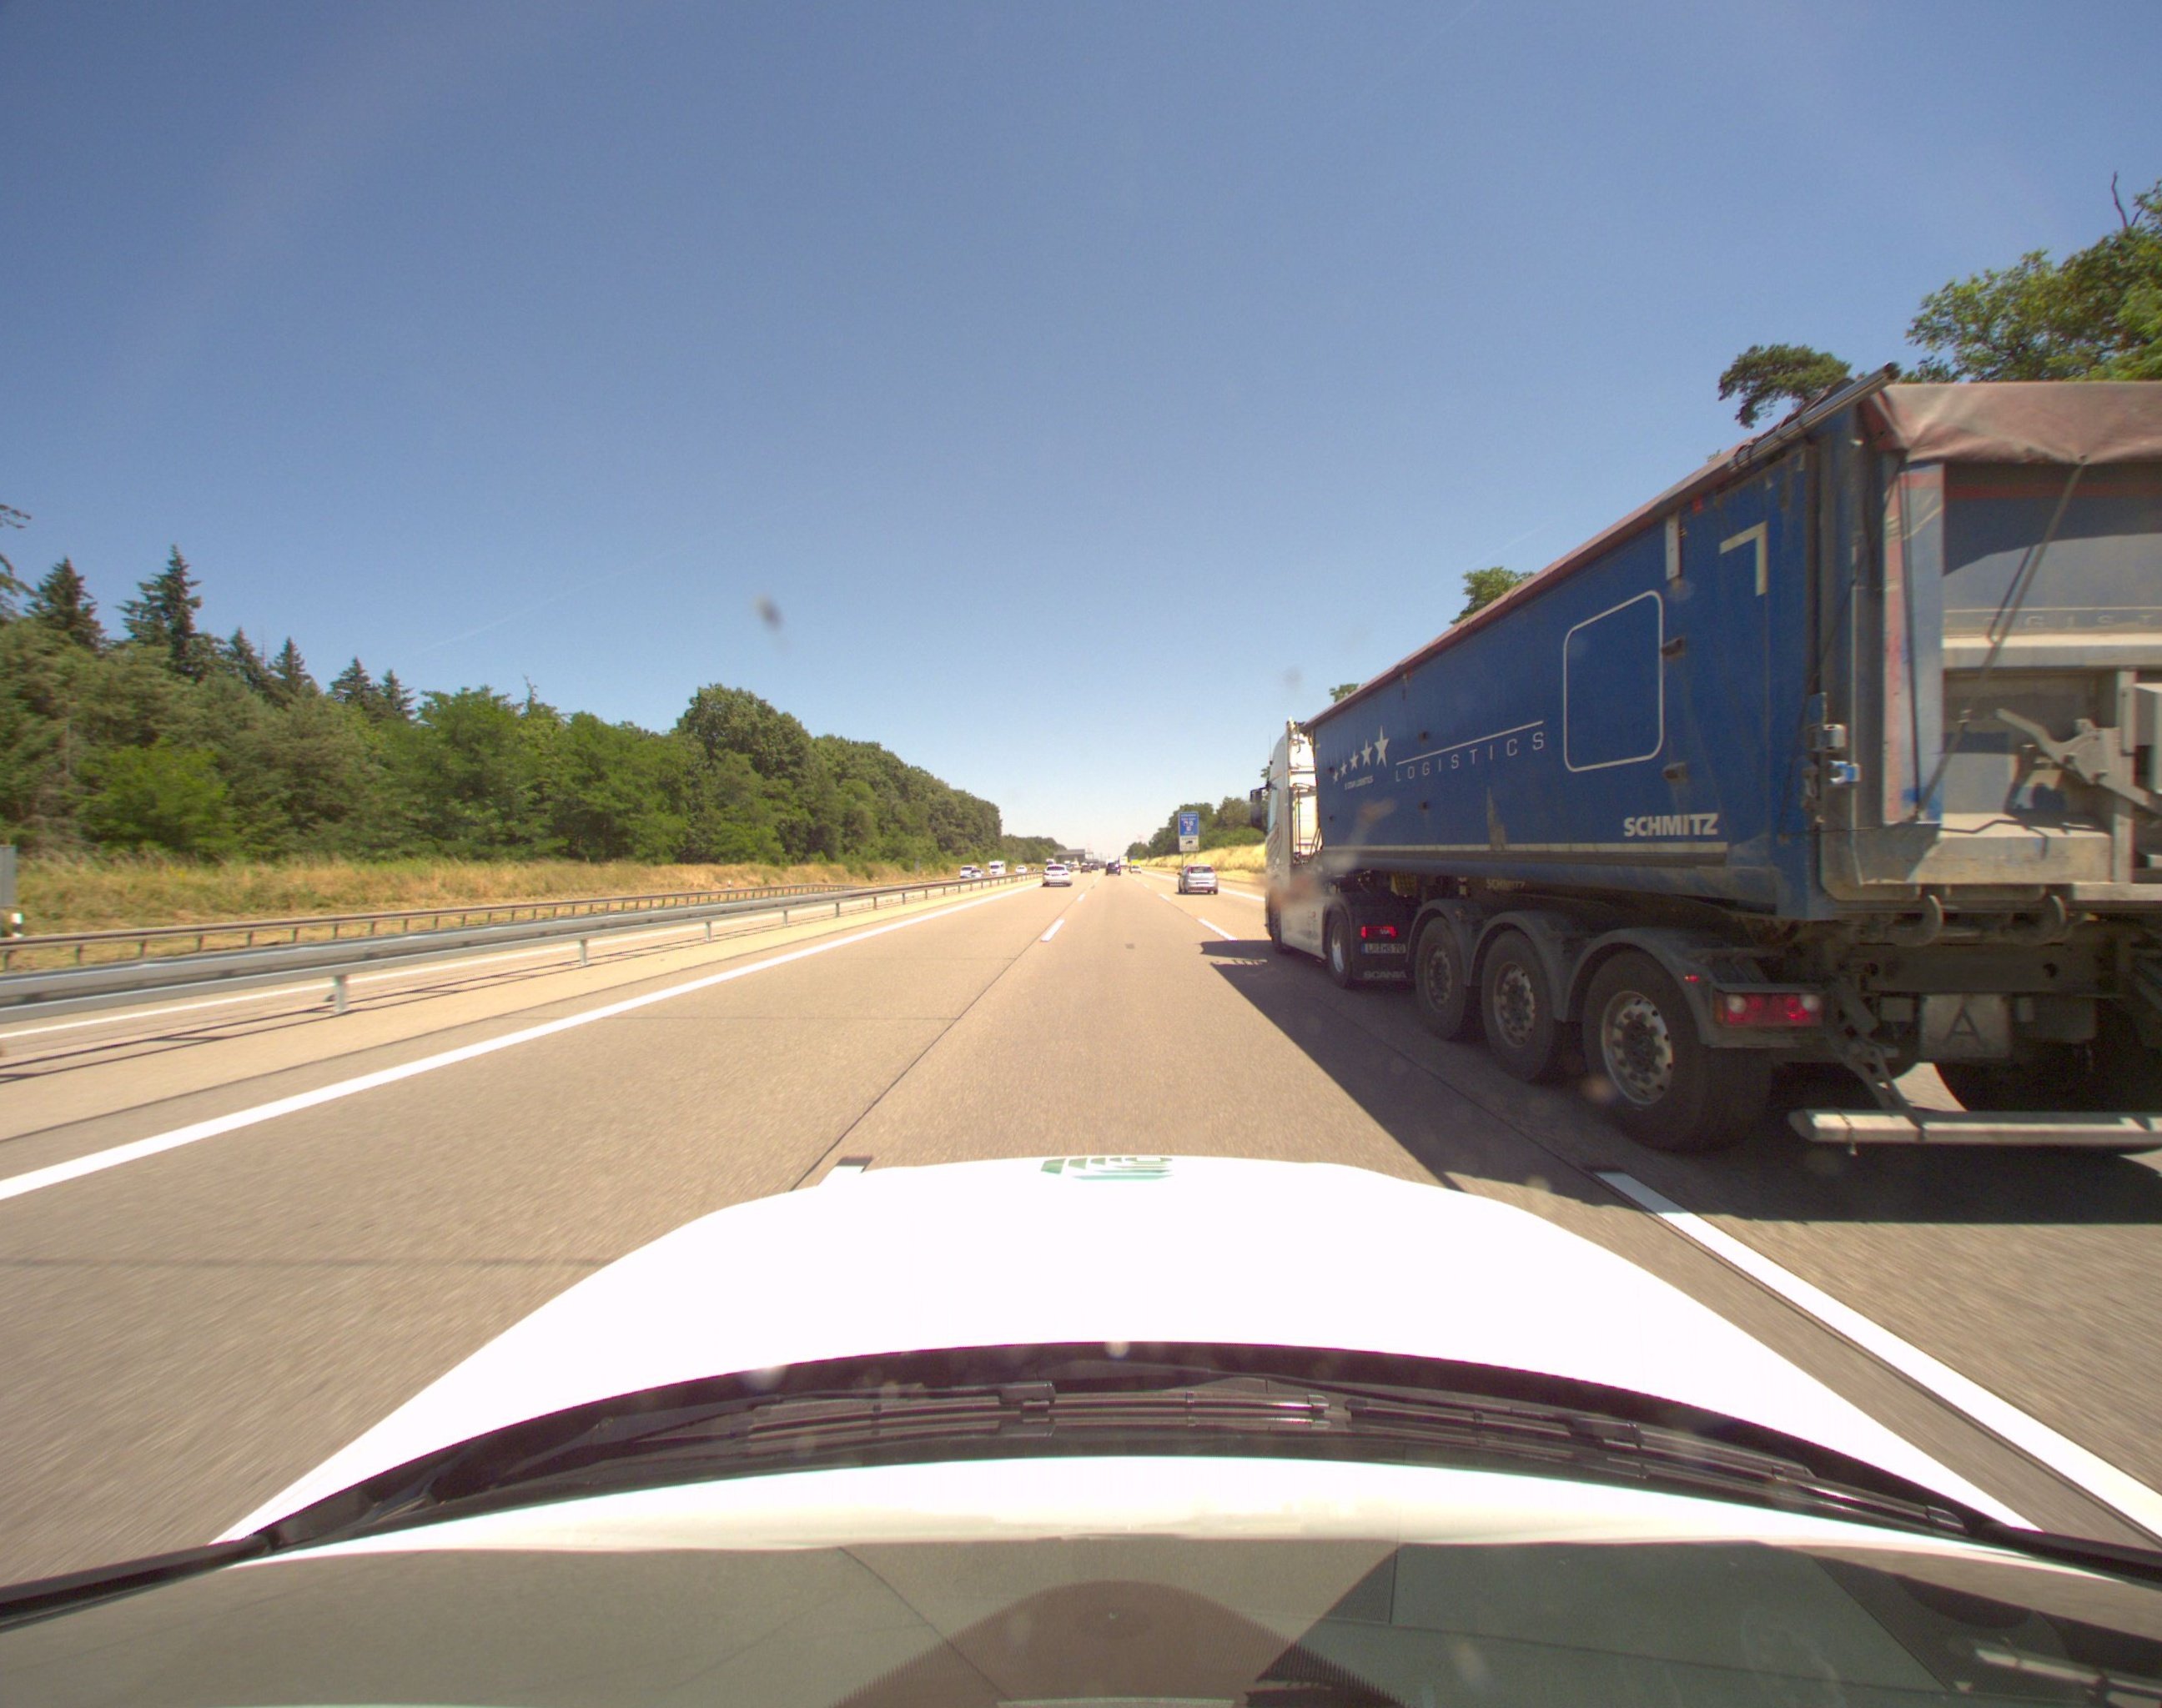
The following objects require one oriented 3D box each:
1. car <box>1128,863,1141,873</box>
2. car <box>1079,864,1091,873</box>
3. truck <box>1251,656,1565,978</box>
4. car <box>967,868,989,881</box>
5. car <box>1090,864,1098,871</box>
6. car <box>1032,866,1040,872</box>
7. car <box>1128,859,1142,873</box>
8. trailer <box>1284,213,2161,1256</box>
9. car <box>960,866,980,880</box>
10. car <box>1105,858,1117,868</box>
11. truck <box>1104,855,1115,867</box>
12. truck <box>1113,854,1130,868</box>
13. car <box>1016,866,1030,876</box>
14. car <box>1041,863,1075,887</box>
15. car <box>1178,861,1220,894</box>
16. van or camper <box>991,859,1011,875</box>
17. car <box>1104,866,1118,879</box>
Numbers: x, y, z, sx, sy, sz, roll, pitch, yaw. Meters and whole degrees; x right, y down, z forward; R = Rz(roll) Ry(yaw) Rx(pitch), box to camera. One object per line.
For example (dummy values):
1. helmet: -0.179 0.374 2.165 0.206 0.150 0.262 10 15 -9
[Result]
1. car: 8.471 2.230 128.957 1.816 1.492 3.735 0 -1 -1
2. car: 0.742 2.394 136.991 1.825 1.431 5.001 -1 0 2
3. truck: 4.474 -0.431 12.602 2.673 3.758 5.948 -1 0 3
4. car: -13.123 2.584 103.791 1.844 1.527 5.207 -2 -1 2
5. car: 3.022 3.063 189.575 1.868 1.580 3.930 -1 0 2
6. car: -12.392 4.113 222.892 1.807 1.395 4.113 -4 -1 2
7. car: 10.421 2.293 157.357 2.656 2.634 6.116 -1 -1 2
8. trailer: 4.260 -0.448 7.495 2.726 3.758 9.112 -1 0 2
9. car: -16.052 2.742 118.061 1.986 1.953 5.247 -4 -1 2
10. car: 4.625 1.375 126.053 1.887 1.469 4.263 0 0 2
11. truck: 6.694 1.681 190.660 2.420 2.884 6.204 0 -1 0
12. truck: 12.858 2.296 258.718 3.986 4.315 9.863 1 -1 -5
13. car: -11.011 3.217 155.110 1.986 1.694 5.247 -4 -1 2
14. car: -1.535 1.407 55.680 1.956 1.504 5.406 -1 -1 2
15. car: 5.797 1.124 40.321 1.712 1.491 3.739 0 0 2
16. van or camper: -14.504 2.352 148.079 2.452 2.575 7.773 -4 -1 2
17. car: 3.903 2.354 106.554 1.826 1.672 3.999 0 -1 0
